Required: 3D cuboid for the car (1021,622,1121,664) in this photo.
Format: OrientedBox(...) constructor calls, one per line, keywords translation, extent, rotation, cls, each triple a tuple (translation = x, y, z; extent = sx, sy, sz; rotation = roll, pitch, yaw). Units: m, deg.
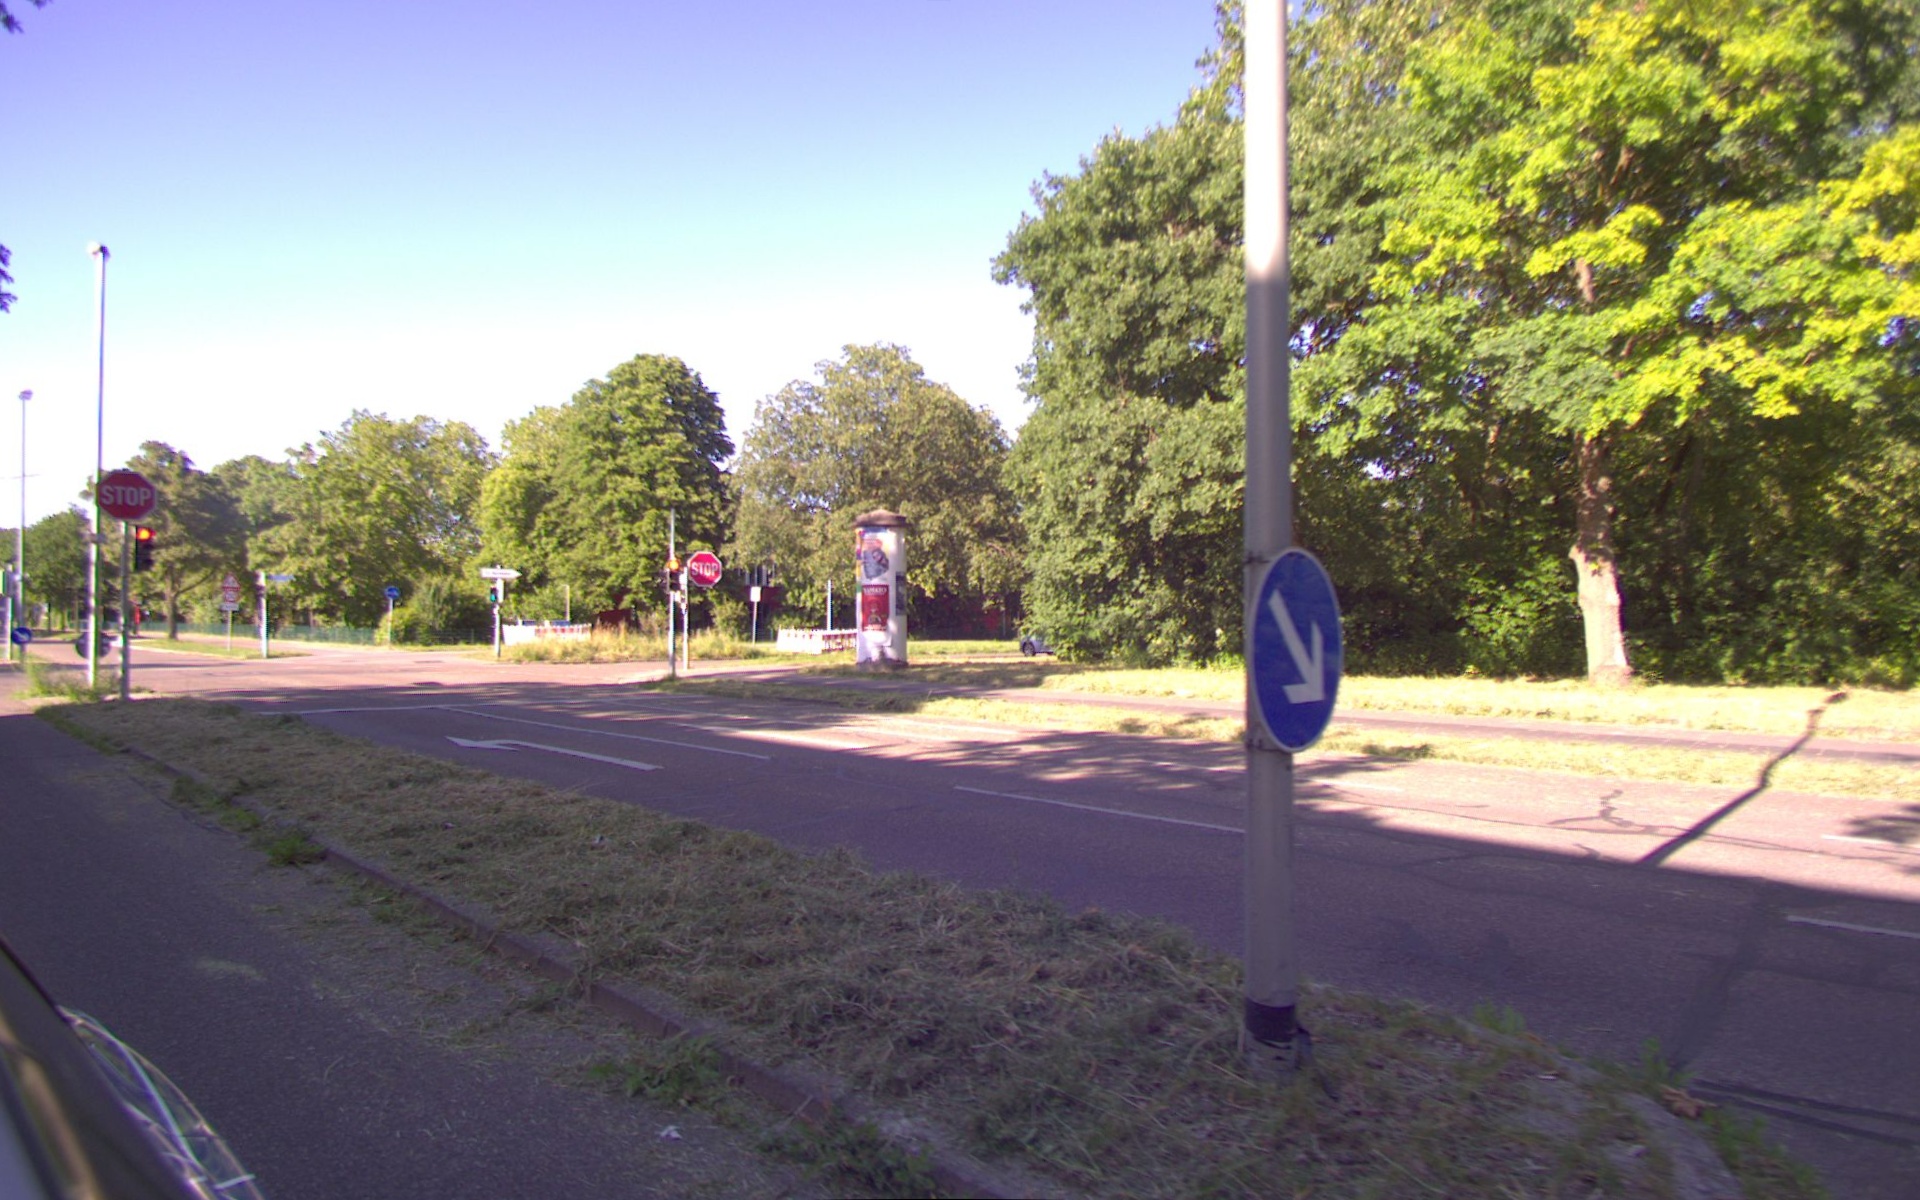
OrientedBox(translation=(4.963, 1.920, 45.883), extent=(1.825, 1.796, 4.521), rotation=(2, -2, -40), cls="car")
